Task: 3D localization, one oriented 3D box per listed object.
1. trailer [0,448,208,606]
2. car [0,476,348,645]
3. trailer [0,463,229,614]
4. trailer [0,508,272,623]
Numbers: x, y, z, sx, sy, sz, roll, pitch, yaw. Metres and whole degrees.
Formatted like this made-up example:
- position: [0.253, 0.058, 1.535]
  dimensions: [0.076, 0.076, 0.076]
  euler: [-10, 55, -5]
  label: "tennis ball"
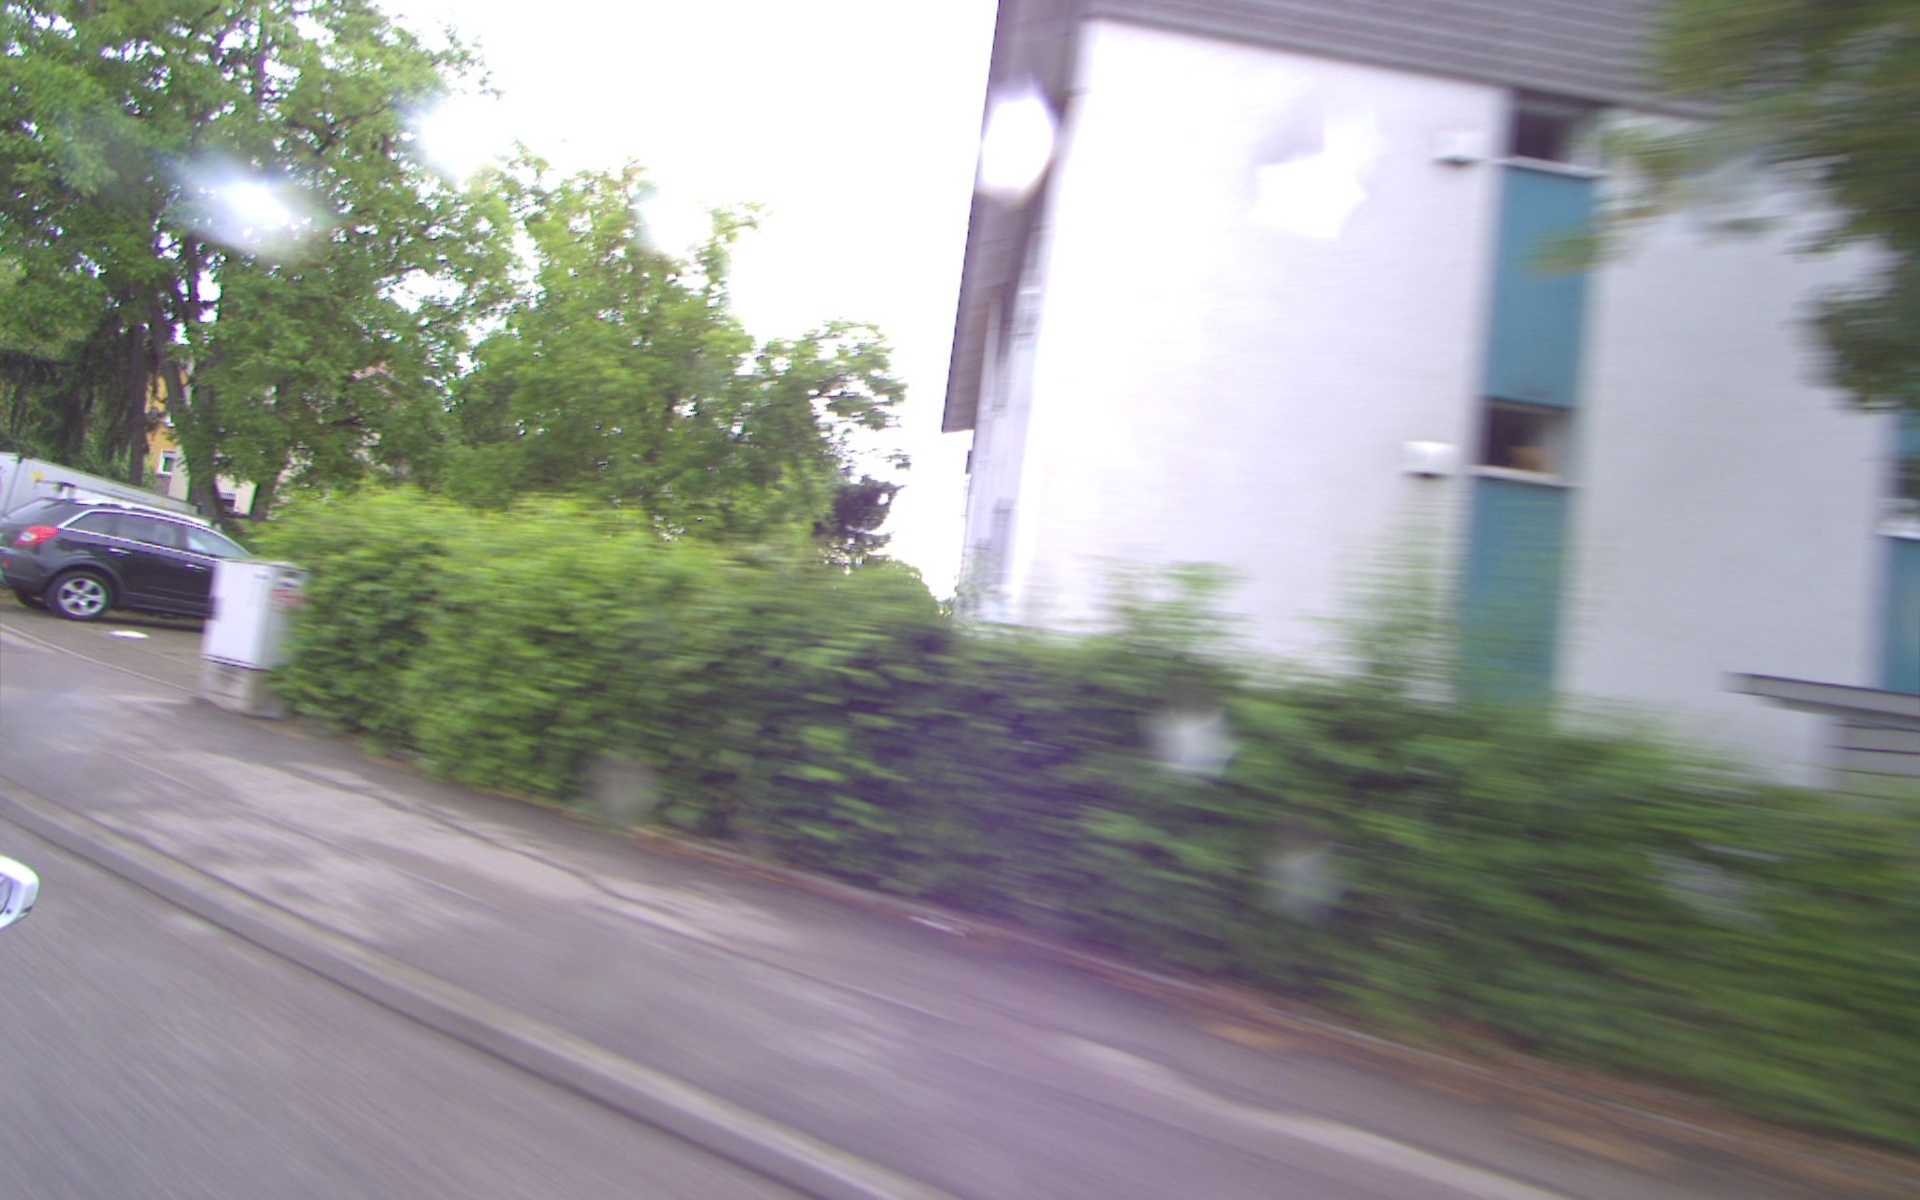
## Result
- position: [-17.965, -1.514, 19.675]
  dimensions: [1.914, 2.424, 4.556]
  euler: [8, -5, 25]
  label: "trailer"
- position: [-12.297, -0.539, 15.559]
  dimensions: [1.952, 1.768, 4.224]
  euler: [8, -4, 34]
  label: "car"
- position: [-16.267, -1.145, 18.526]
  dimensions: [1.659, 2.041, 3.967]
  euler: [7, -5, 32]
  label: "trailer"
- position: [-14.763, -0.607, 17.359]
  dimensions: [1.545, 1.301, 4.410]
  euler: [8, -4, 32]
  label: "trailer"
